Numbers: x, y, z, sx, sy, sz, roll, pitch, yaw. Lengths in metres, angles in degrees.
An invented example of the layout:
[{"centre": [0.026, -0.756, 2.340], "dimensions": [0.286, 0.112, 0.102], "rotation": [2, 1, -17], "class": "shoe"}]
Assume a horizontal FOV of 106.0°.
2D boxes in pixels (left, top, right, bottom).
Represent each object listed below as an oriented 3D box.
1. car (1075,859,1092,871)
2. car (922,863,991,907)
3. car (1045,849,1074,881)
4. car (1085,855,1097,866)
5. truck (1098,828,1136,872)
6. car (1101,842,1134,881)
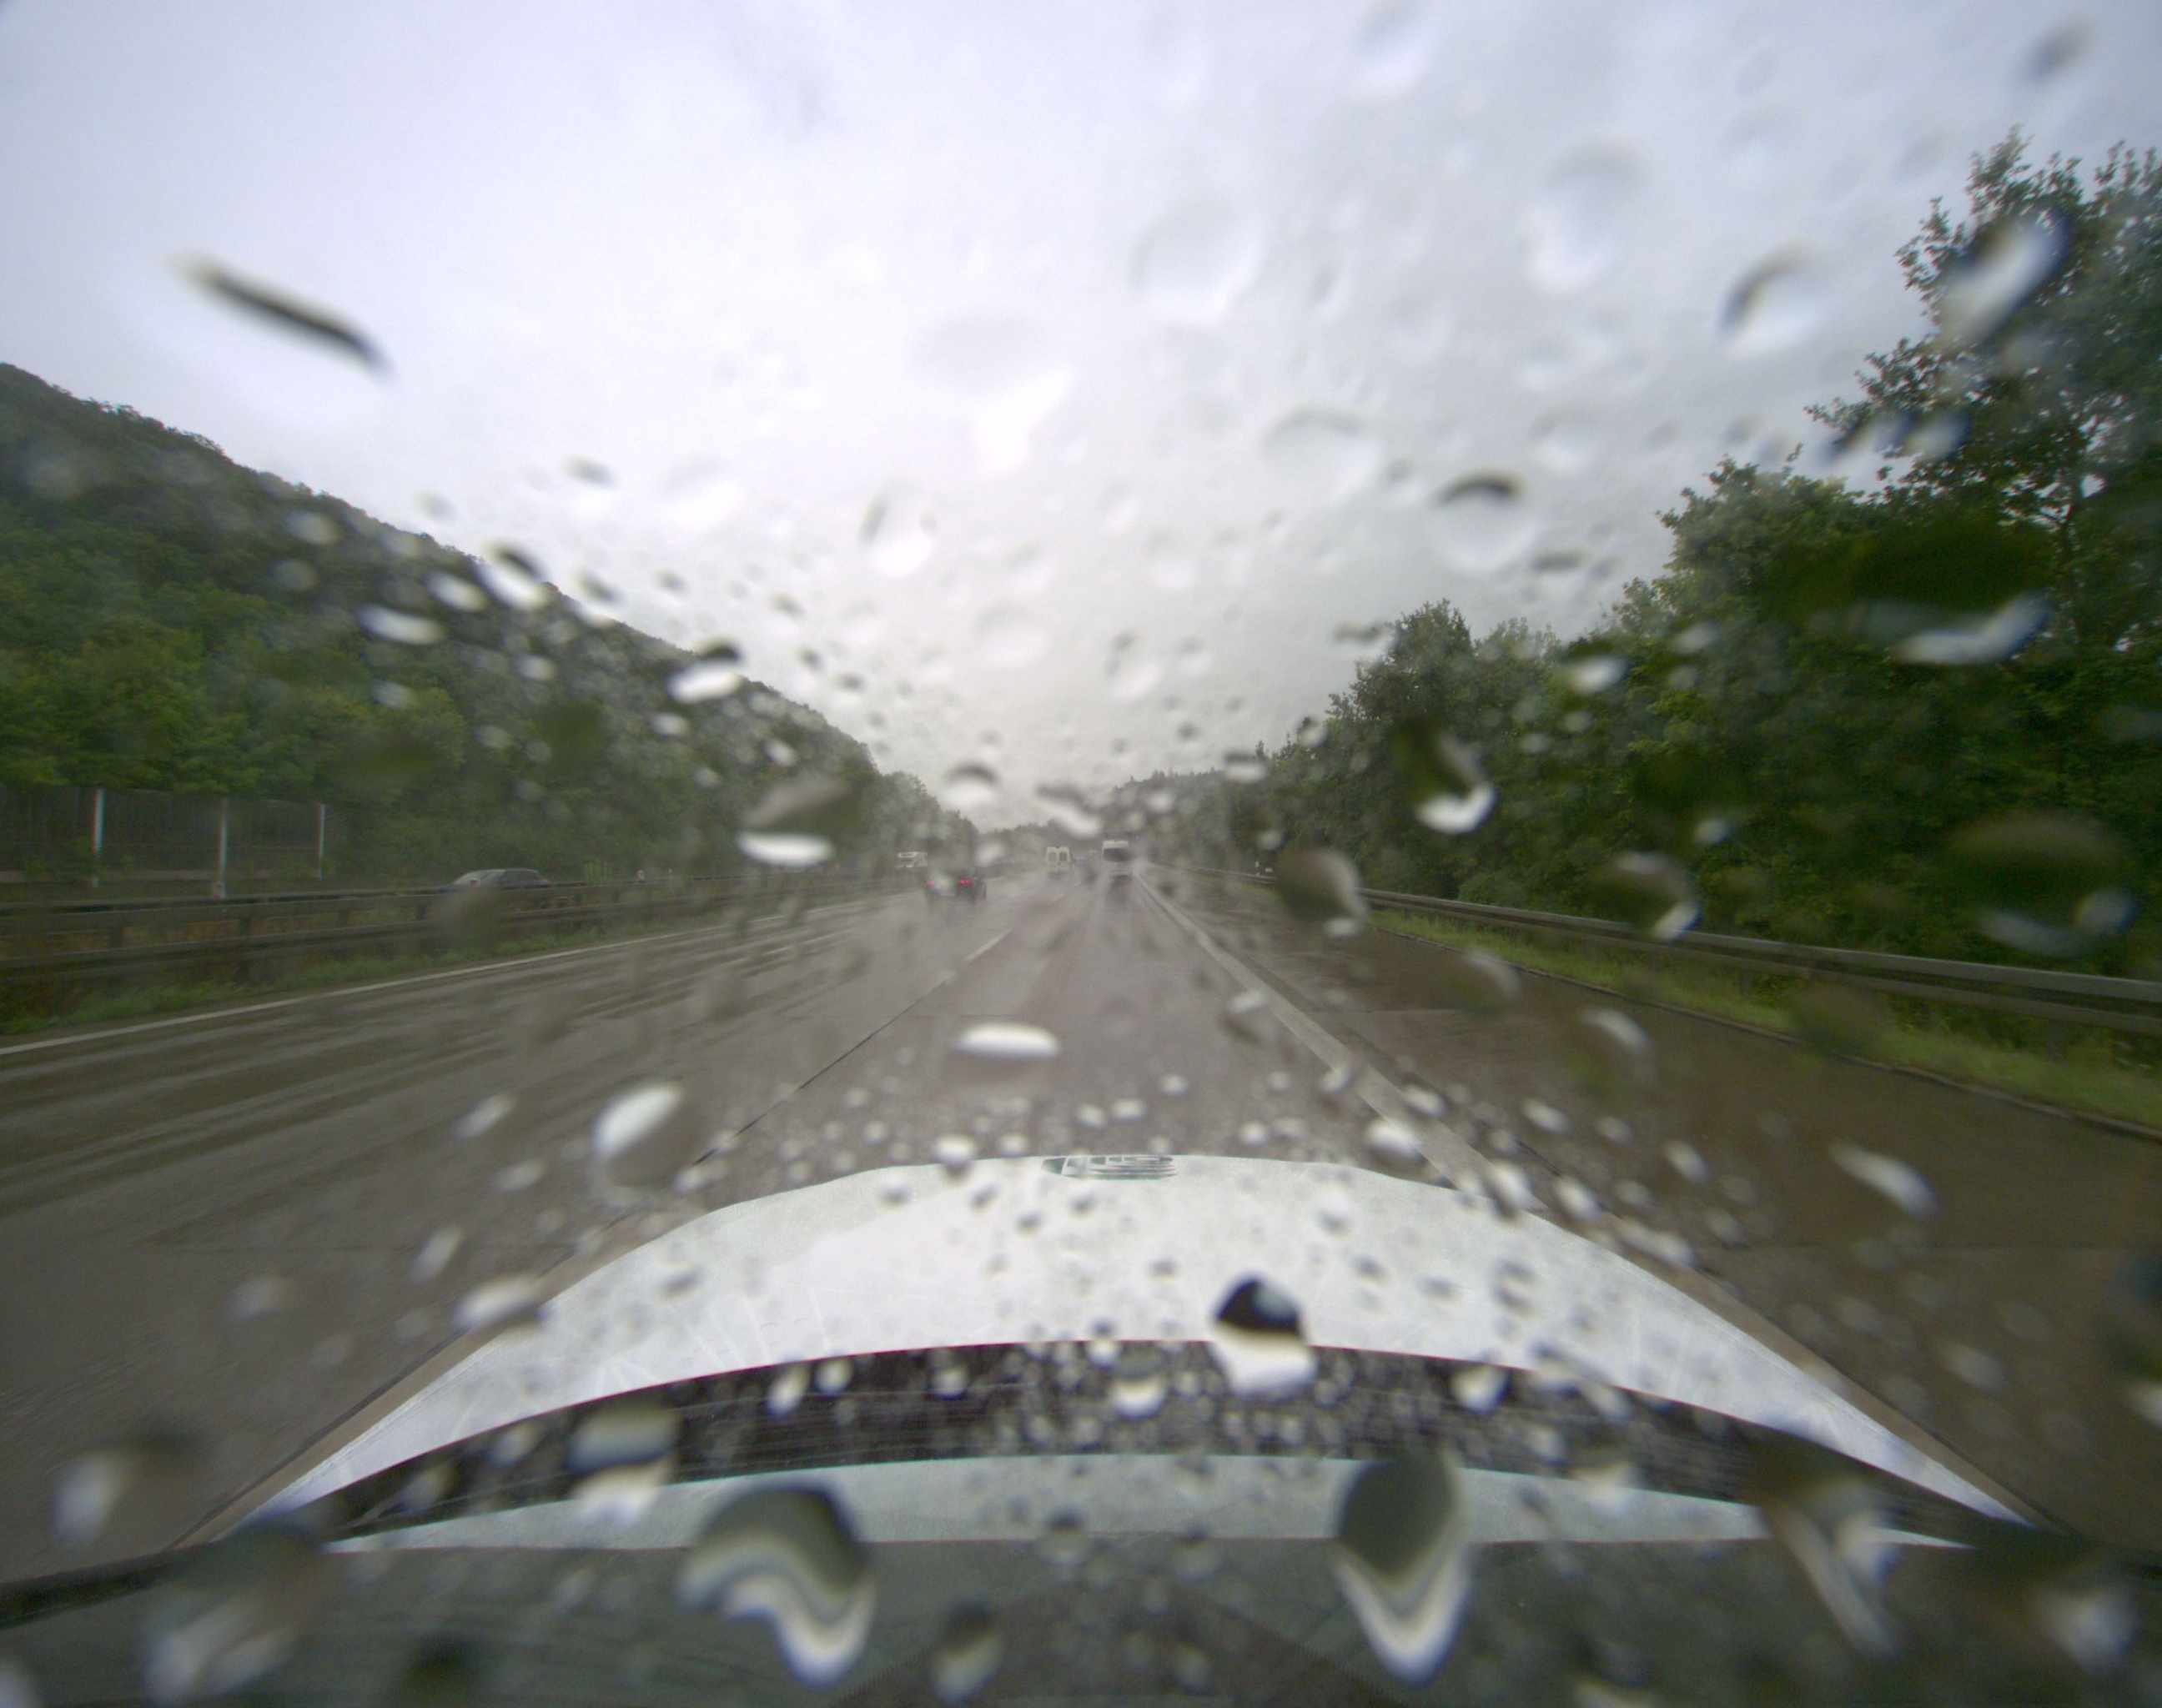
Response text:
[{"centre": [0.267, 1.228, 93.880], "dimensions": [1.851, 1.339, 4.349], "rotation": [1, 0, -1], "class": "car"}, {"centre": [-4.358, 1.055, 29.146], "dimensions": [1.735, 1.388, 4.321], "rotation": [-2, -1, 1], "class": "car"}, {"centre": [-1.613, 0.836, 63.826], "dimensions": [1.991, 2.432, 5.791], "rotation": [1, 0, 1], "class": "car"}, {"centre": [1.615, 1.024, 132.038], "dimensions": [1.862, 1.810, 4.189], "rotation": [1, 0, 1], "class": "car"}, {"centre": [3.500, -0.520, 80.057], "dimensions": [3.372, 3.967, 8.671], "rotation": [-3, 2, 2], "class": "truck"}, {"centre": [2.224, 0.465, 51.197], "dimensions": [1.893, 2.334, 5.251], "rotation": [1, 0, 1], "class": "car"}]
